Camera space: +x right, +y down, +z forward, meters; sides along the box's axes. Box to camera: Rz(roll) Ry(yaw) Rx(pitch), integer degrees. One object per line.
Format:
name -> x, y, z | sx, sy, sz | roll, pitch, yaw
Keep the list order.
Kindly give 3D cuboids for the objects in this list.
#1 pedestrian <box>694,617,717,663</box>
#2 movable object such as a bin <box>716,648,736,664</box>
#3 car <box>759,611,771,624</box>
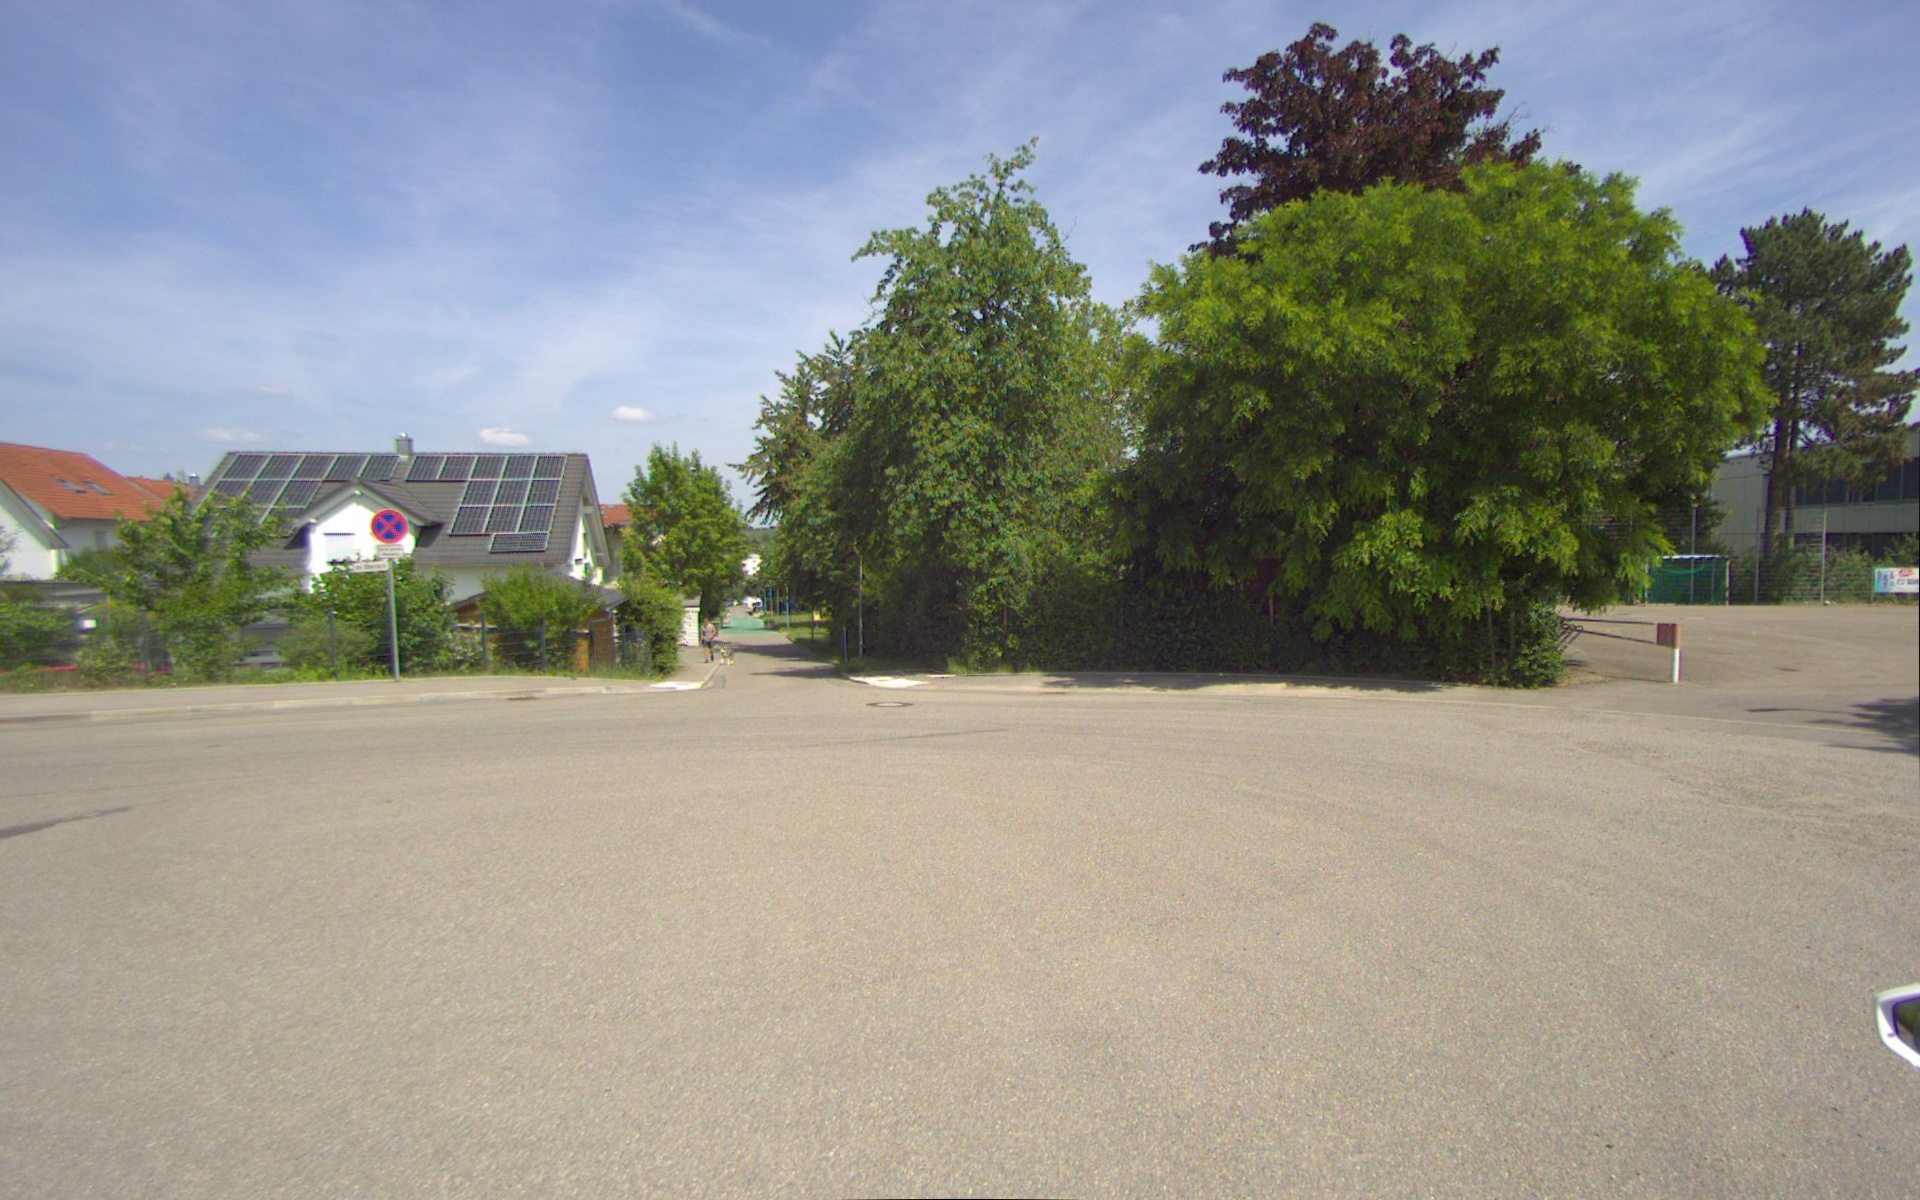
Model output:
pedestrian -> -10.286, 1.626, 40.621 | 0.835, 1.843, 0.832 | -1, -4, -18
movable object such as a bin -> -9.249, 2.207, 39.771 | 0.539, 0.637, 1.021 | -1, -2, 1
car -> -32.120, 2.846, 165.406 | 1.707, 2.040, 3.991 | 0, -1, -13
